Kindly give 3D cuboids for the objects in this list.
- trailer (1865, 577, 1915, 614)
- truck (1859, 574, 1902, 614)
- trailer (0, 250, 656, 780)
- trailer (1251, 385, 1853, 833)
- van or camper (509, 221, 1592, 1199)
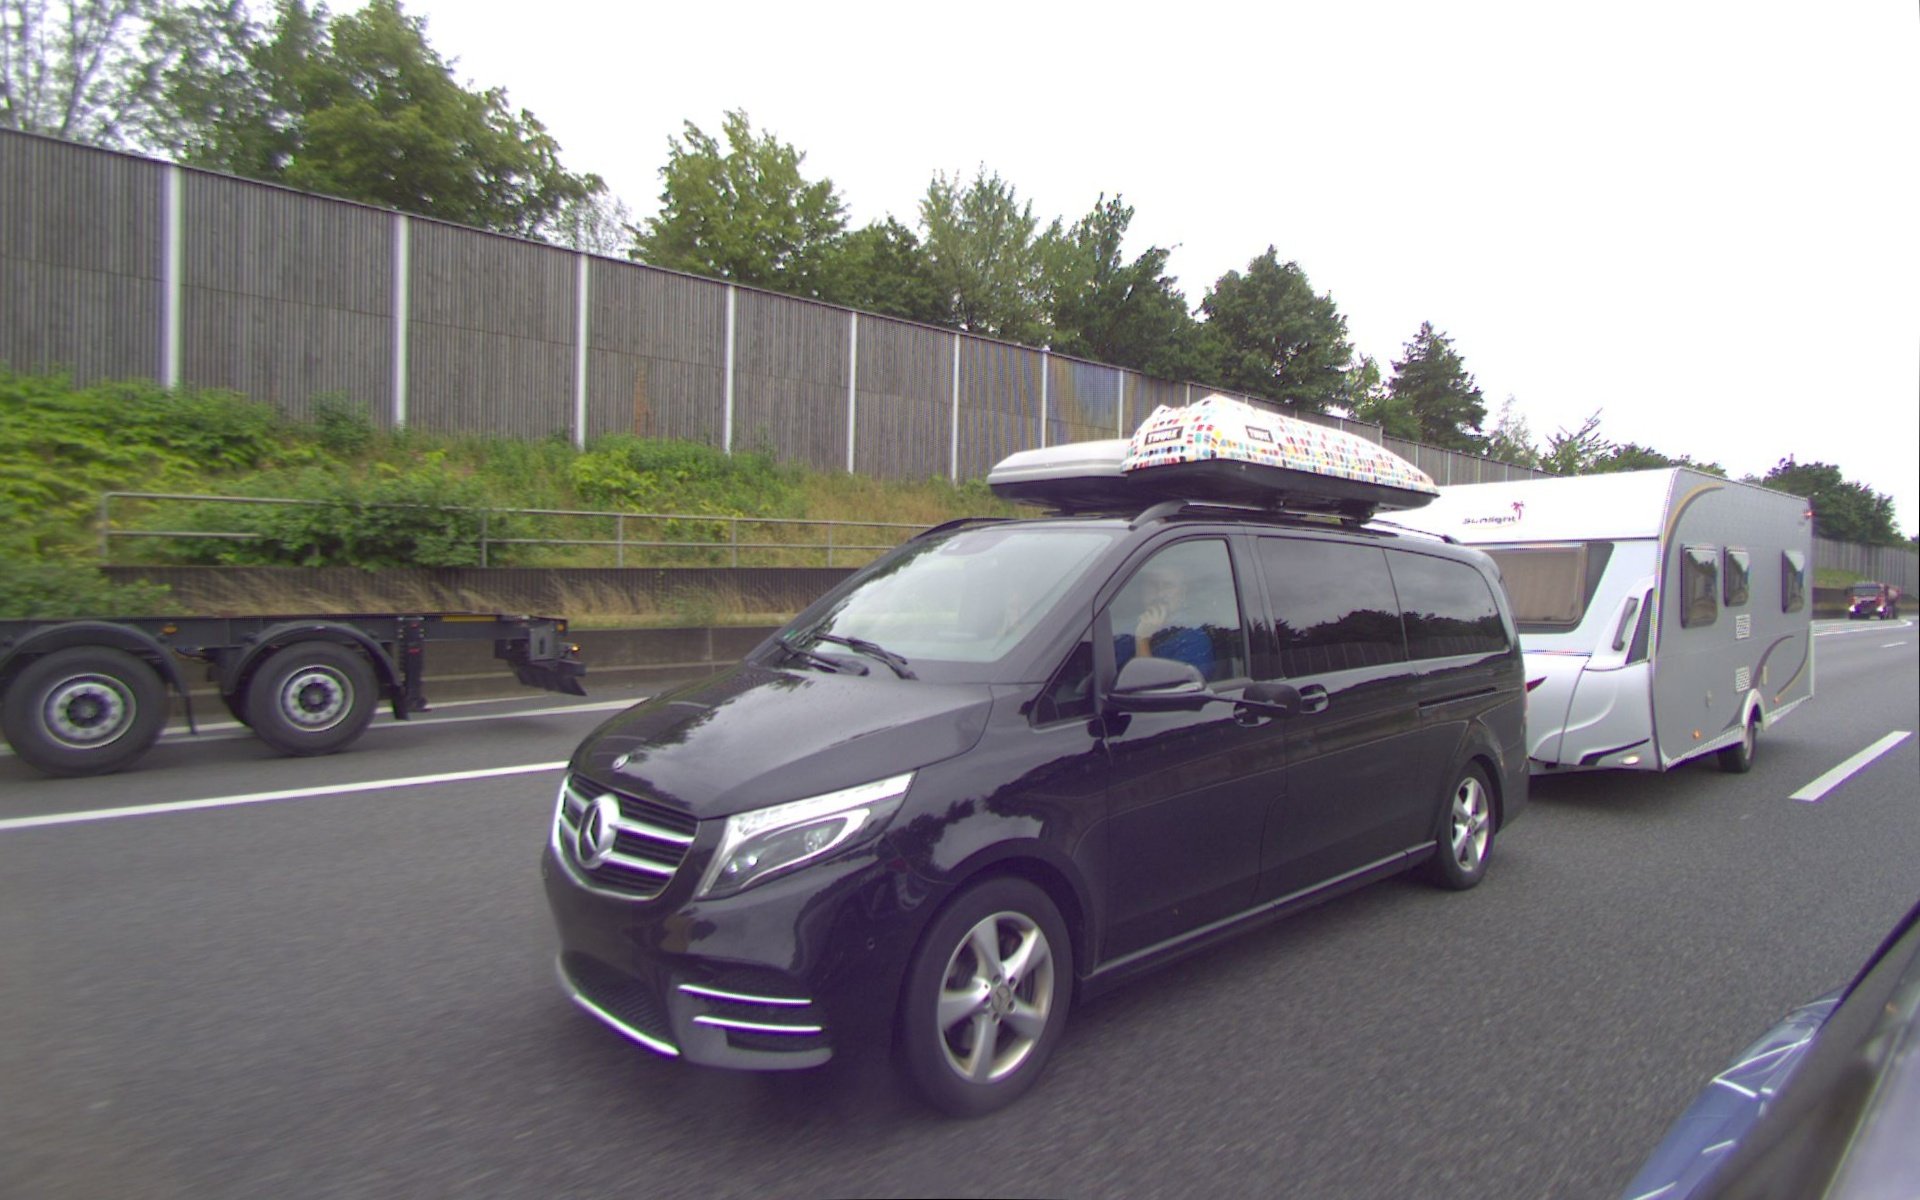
[{"bbox_3d":[87.047,-0.407,94.660,9.238,3.288,2.450,0,1,-41],"label":"trailer"},{"bbox_3d":[82.689,-0.522,90.900,3.931,3.508,2.418,0,1,-42],"label":"truck"},{"bbox_3d":[-10.326,-0.615,6.648,16.399,4.003,2.654,-1,0,-42],"label":"trailer"},{"bbox_3d":[5.996,0.018,9.529,7.381,2.675,2.725,0,1,-42],"label":"trailer"},{"bbox_3d":[1.030,0.243,4.897,5.580,2.298,1.894,0,1,-41],"label":"van or camper"}]
